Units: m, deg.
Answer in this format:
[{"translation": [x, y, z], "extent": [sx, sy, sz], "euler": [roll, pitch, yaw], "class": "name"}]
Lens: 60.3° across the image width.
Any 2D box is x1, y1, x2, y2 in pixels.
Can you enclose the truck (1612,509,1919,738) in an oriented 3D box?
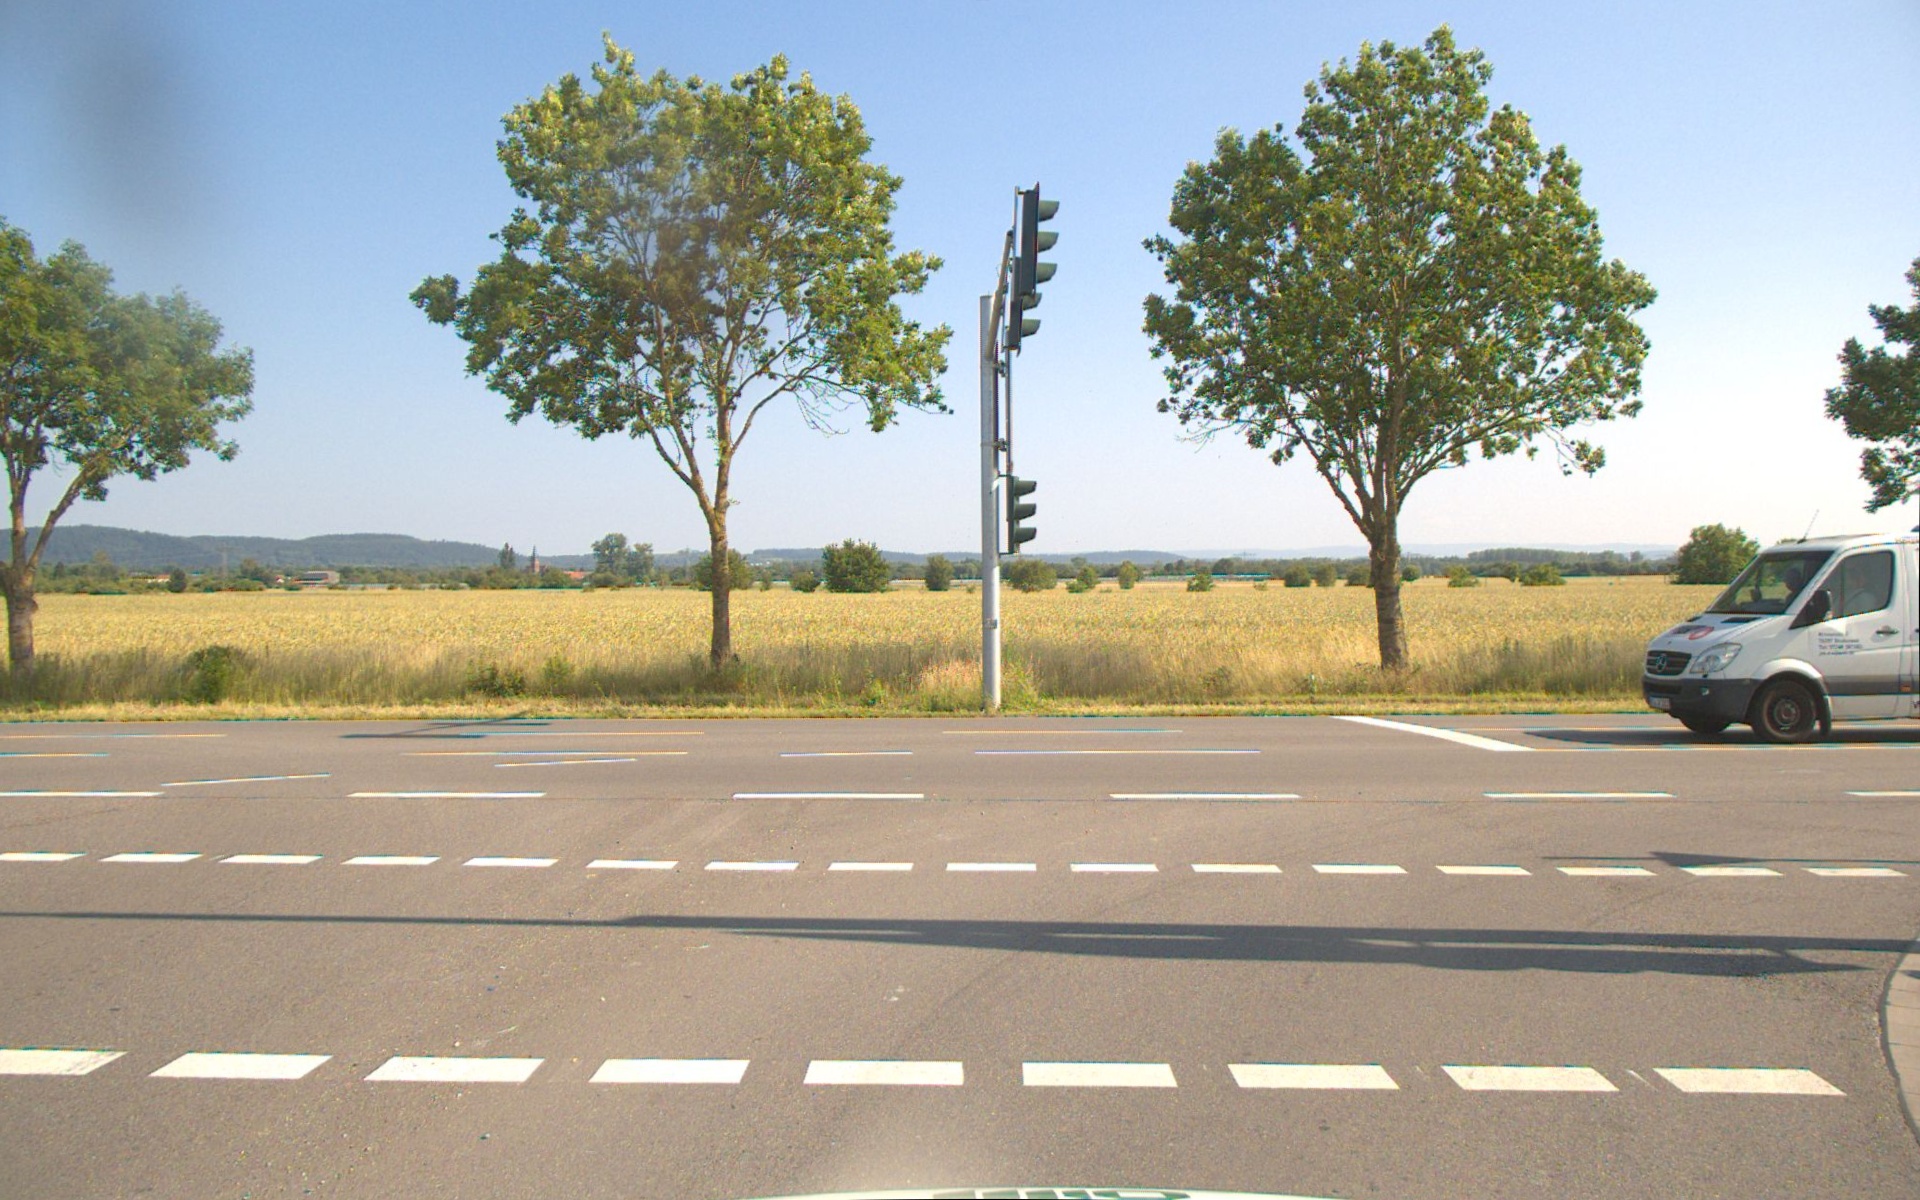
[{"translation": [10.905, 0.249, 18.955], "extent": [6.053, 2.447, 2.070], "euler": [0, -1, -2], "class": "truck"}]
